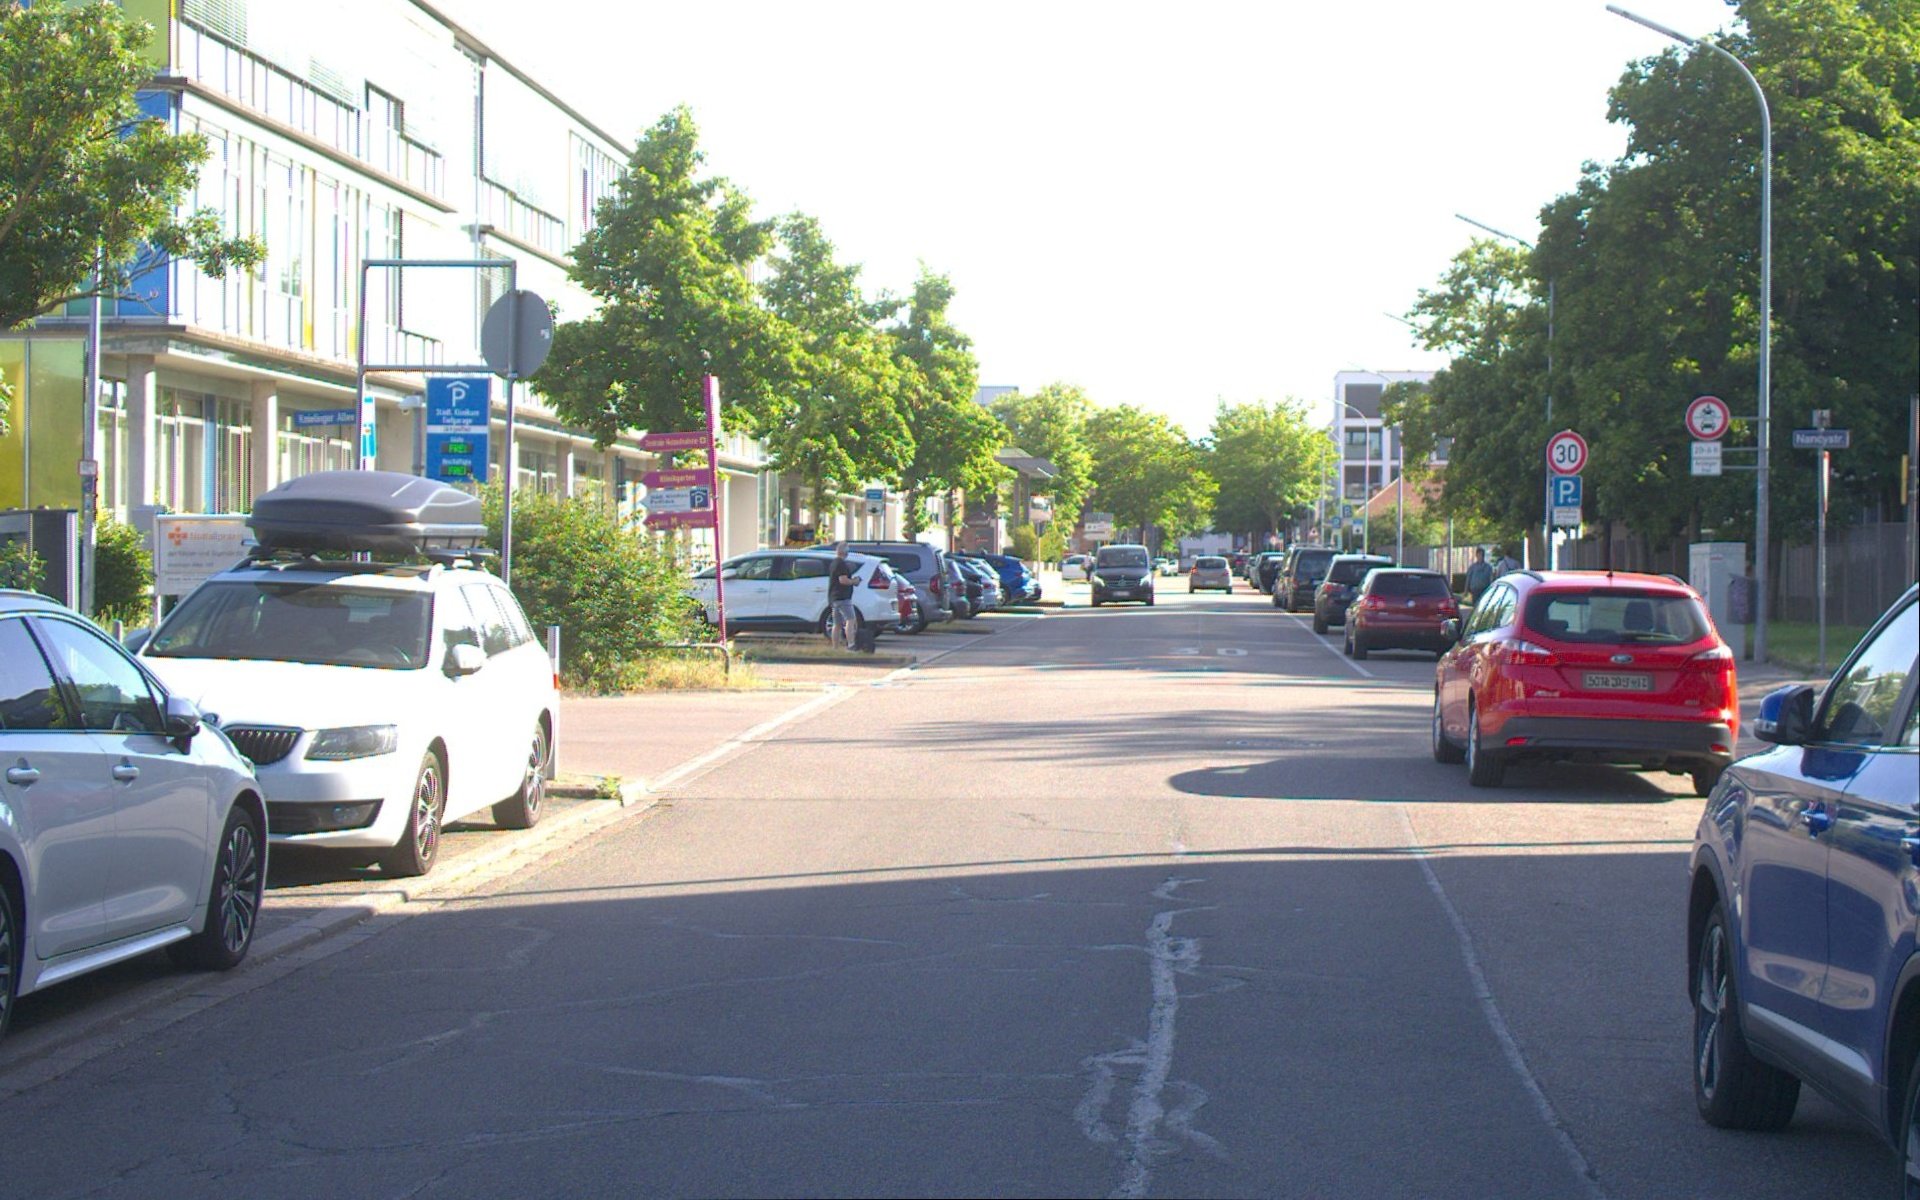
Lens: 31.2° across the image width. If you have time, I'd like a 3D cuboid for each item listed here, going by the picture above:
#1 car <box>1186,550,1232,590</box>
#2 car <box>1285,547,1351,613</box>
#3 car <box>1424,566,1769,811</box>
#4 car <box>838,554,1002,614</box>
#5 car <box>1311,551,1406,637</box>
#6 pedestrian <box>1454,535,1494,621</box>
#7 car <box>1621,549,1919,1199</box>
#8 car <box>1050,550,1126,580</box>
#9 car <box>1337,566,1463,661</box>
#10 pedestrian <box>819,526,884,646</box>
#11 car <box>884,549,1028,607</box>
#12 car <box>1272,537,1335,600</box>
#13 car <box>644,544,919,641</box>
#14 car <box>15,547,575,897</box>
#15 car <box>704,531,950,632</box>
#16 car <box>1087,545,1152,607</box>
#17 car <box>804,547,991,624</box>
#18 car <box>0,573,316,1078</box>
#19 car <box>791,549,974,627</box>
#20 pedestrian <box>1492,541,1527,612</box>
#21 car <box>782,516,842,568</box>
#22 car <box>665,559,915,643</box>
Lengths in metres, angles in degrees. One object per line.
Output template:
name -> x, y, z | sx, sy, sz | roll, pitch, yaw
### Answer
car -> 9.887, -1.193, 136.626 | 1.744, 1.538, 4.000 | 1, 1, 4
car -> 10.147, -0.583, 97.636 | 1.733, 1.824, 3.905 | 0, 1, 4
car -> 4.401, 0.549, 24.386 | 1.819, 1.494, 4.452 | 2, 1, 3
car -> -0.969, -0.399, 85.149 | 3.987, 1.354, 1.743 | 2, 1, 1
car -> 8.400, -0.157, 72.742 | 1.812, 1.660, 4.592 | 2, 2, 5
pedestrian -> 10.677, -0.468, 71.395 | 0.718, 1.752, 0.884 | -2, 1, 5
car -> 2.828, 0.712, 8.131 | 1.817, 1.594, 4.627 | 2, 1, 3
car -> 6.921, -1.884, 185.686 | 3.987, 1.514, 2.000 | 1, 0, 5
car -> 7.215, 0.191, 56.750 | 1.720, 1.450, 4.651 | 2, 1, 3
pedestrian -> -1.697, -0.231, 53.950 | 0.858, 1.836, 0.825 | 2, 1, 6
car -> -0.105, -0.665, 102.372 | 4.214, 1.597, 1.872 | 2, 1, 1
car -> 10.980, -1.022, 110.092 | 1.875, 1.971, 4.000 | -1, 1, 4
car -> -3.162, -0.146, 61.386 | 4.613, 1.645, 1.867 | 1, 0, 8
car -> -3.268, 0.524, 17.815 | 1.696, 1.508, 4.516 | 3, 1, 4
car -> -2.669, -0.389, 69.730 | 4.743, 1.858, 1.827 | 2, 1, 5
car -> 5.004, -0.765, 107.305 | 1.955, 1.861, 5.254 | 0, 1, 4
car -> -1.421, -0.346, 79.610 | 4.246, 1.606, 2.048 | 2, 1, 1
car -> -3.626, 0.658, 11.435 | 1.747, 1.441, 4.540 | 2, 1, 4
car -> -1.705, -0.273, 76.670 | 3.987, 1.601, 1.872 | 2, 1, 1
pedestrian -> 13.009, -0.552, 81.435 | 0.698, 1.655, 0.751 | -2, 0, 4
car -> -6.091, -2.371, 141.732 | 1.994, 2.007, 3.999 | 1, 0, 4
car -> -3.139, 0.008, 64.107 | 4.434, 1.496, 1.827 | 1, 0, 5
